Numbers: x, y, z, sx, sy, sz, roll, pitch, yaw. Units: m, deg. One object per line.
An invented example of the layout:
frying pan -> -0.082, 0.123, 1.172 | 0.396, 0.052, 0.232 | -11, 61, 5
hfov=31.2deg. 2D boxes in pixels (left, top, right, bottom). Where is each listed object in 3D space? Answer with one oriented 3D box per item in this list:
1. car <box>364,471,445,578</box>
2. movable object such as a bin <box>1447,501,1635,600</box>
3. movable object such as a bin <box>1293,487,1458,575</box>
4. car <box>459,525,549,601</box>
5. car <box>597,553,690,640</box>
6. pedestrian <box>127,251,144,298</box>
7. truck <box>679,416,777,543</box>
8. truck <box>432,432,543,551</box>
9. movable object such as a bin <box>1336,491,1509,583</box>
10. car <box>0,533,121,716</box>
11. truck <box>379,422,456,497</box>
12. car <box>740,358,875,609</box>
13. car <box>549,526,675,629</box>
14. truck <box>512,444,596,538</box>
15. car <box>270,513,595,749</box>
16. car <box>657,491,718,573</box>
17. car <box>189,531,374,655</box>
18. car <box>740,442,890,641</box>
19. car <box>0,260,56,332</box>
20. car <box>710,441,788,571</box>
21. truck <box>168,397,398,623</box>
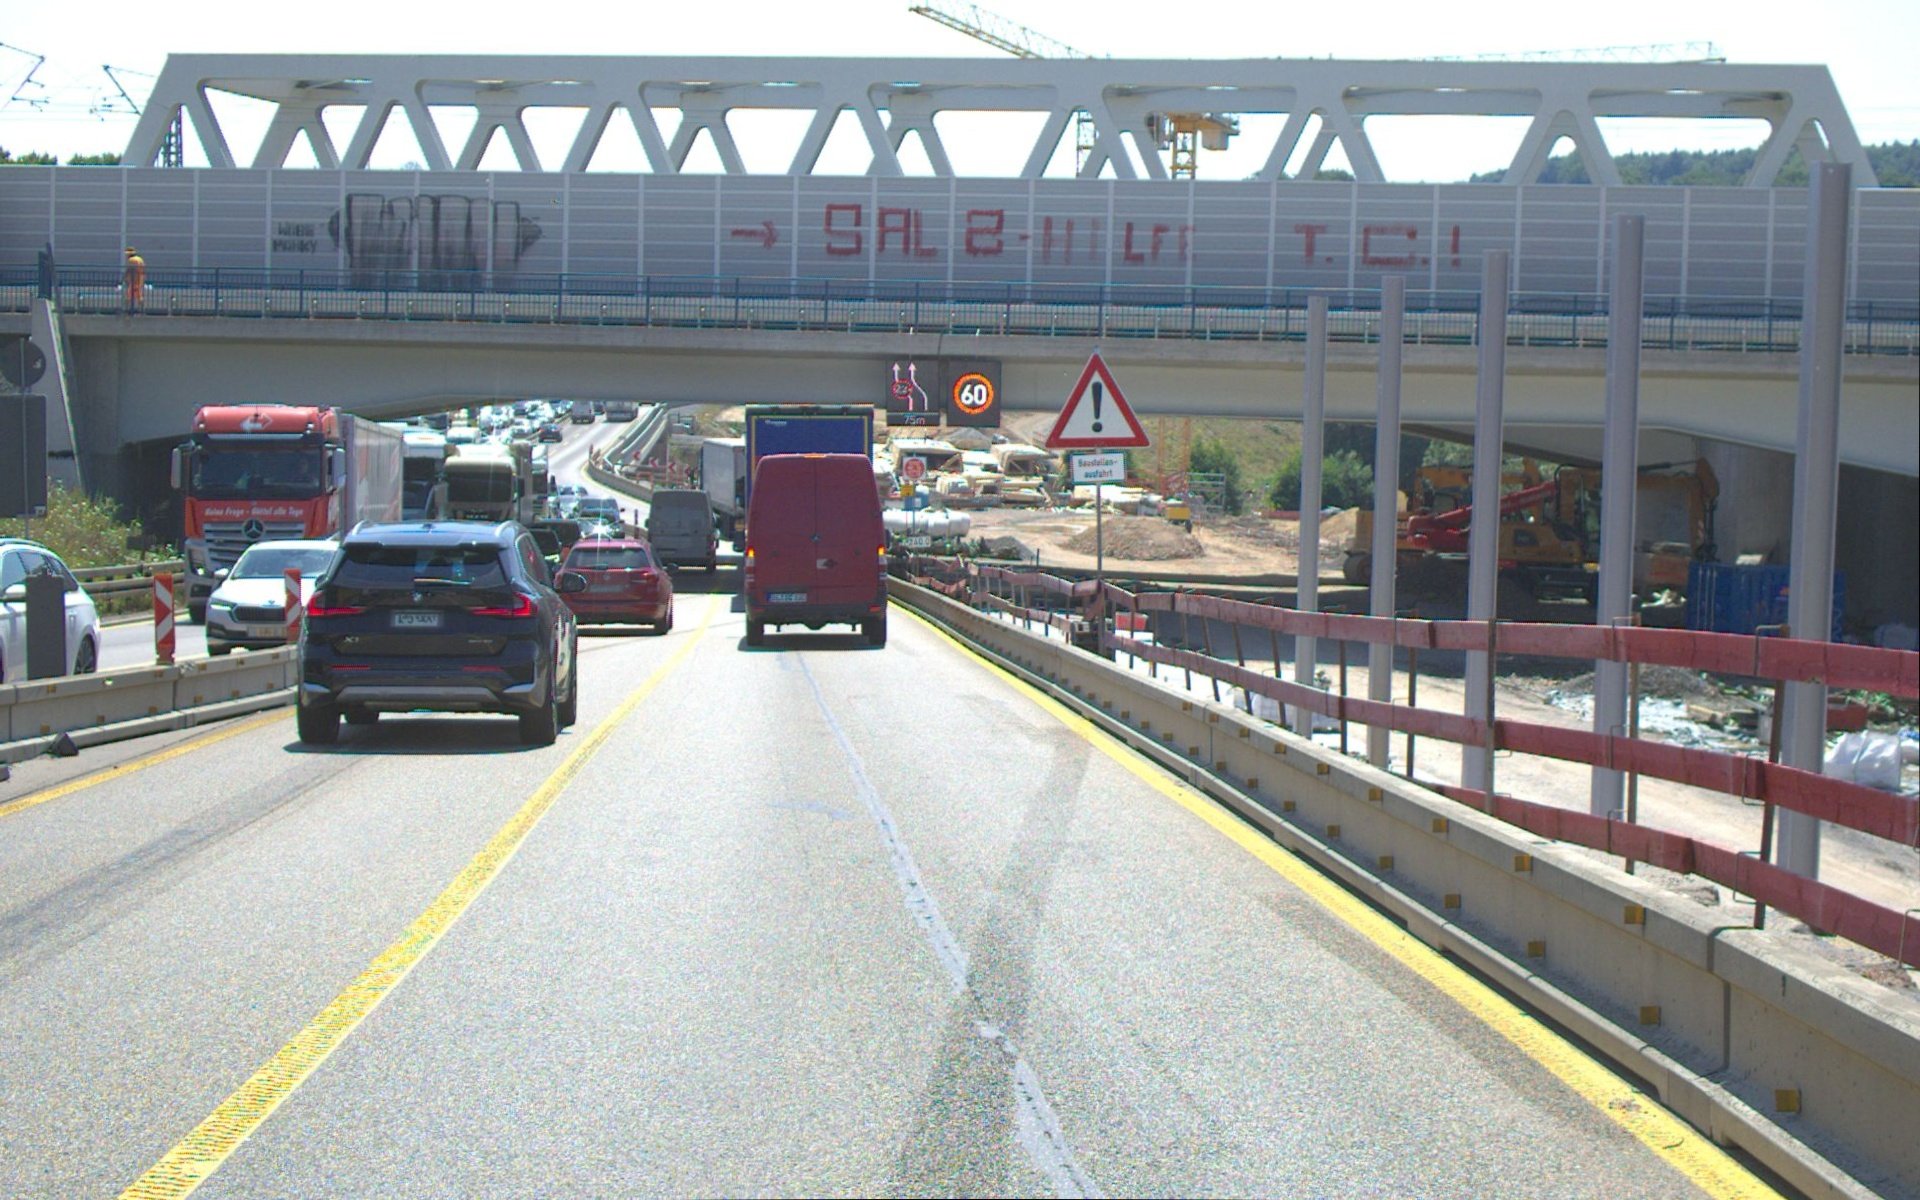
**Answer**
car -> -14.235, -1.956, 88.345 | 1.580, 2.645, 5.392 | 1, 2, -4
movable object such as a bin -> 16.985, -1.453, 100.716 | 5.147, 2.798, 2.142 | 1, 1, 2
movable object such as a bin -> 13.522, -2.255, 112.169 | 5.147, 2.798, 2.142 | 1, 1, 2
car -> -9.095, -0.759, 68.744 | 1.580, 1.441, 3.665 | 1, 2, -4
car -> -6.492, -0.108, 70.847 | 1.839, 1.648, 4.166 | 0, 2, -5
pedestrian -> -21.549, -8.495, 89.859 | 0.336, 1.207, 0.308 | 1, 1, 10
truck -> -10.375, -5.315, 152.558 | 2.834, 5.380, 12.916 | 0, 2, -10
truck -> -16.188, -3.709, 118.604 | 2.834, 3.839, 12.915 | 1, 2, -4
movable object such as a bin -> 14.482, -1.980, 107.829 | 5.147, 2.798, 2.142 | 1, 1, 2
car -> -8.319, 0.170, 27.770 | 1.817, 1.379, 4.584 | 1, 2, 2
truck -> -29.132, -7.435, 184.226 | 2.834, 3.839, 12.917 | 0, 2, -14
car -> -3.380, -2.489, 73.954 | 2.620, 5.014, 10.399 | 0, 2, -4
car -> -5.394, -0.383, 53.731 | 1.775, 1.512, 4.207 | 0, 2, -3
truck -> -17.515, -4.680, 147.761 | 2.834, 3.839, 12.916 | 0, 2, -10
car -> -3.889, 0.155, 26.047 | 1.879, 1.612, 4.500 | 0, 2, -2
car -> -8.223, -2.070, 103.918 | 1.775, 2.432, 4.207 | 0, 2, -4
car -> -8.496, -0.126, 43.345 | 1.833, 1.441, 4.157 | 1, 2, -5
car -> -2.111, -0.865, 48.801 | 1.988, 2.681, 4.624 | 0, 2, -4
car -> -26.800, -8.138, 92.144 | 4.555, 1.776, 1.960 | 1, 1, 10
car -> -6.949, -3.098, 112.888 | 2.450, 4.146, 6.861 | 0, 2, -4
truck -> -12.648, -1.717, 65.320 | 2.834, 3.839, 12.915 | 1, 2, -5
